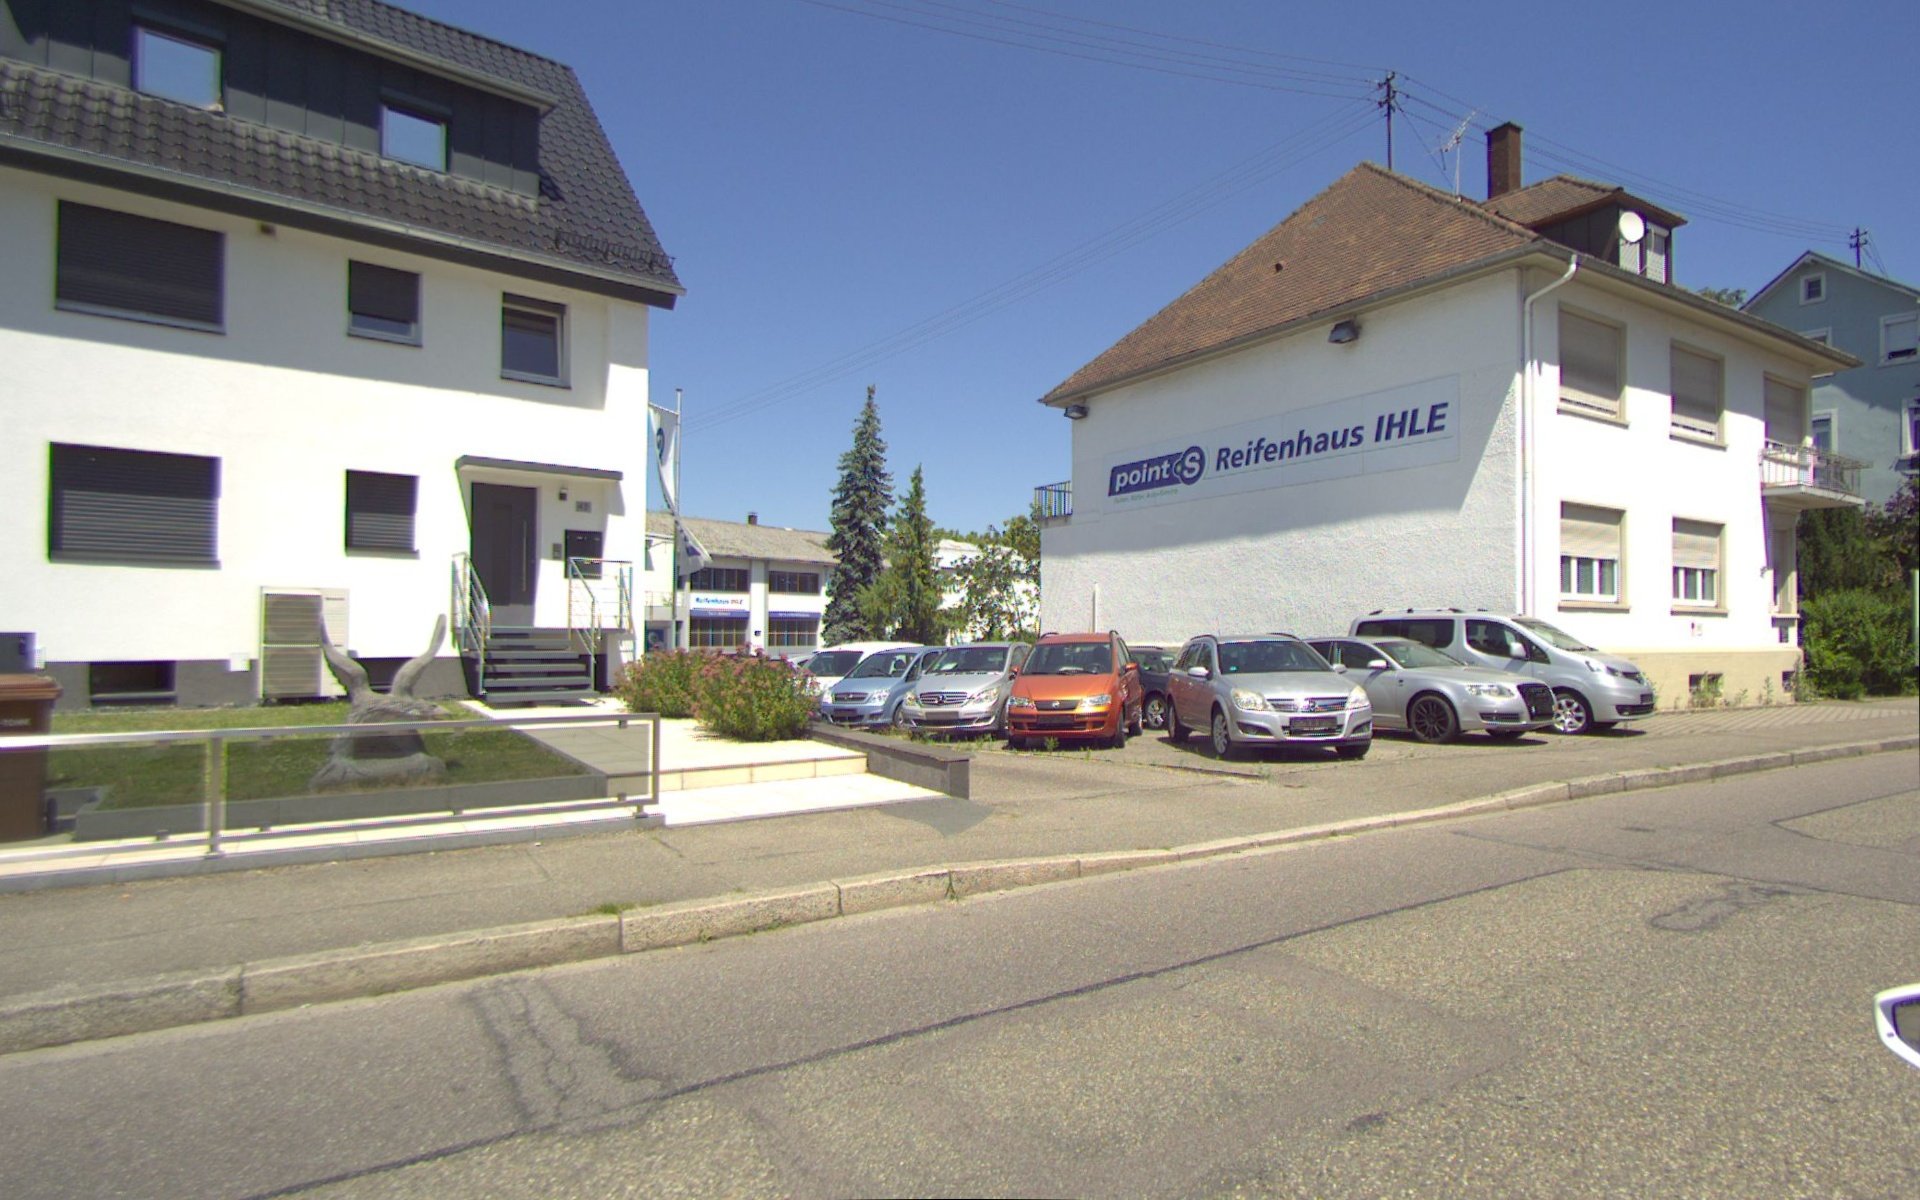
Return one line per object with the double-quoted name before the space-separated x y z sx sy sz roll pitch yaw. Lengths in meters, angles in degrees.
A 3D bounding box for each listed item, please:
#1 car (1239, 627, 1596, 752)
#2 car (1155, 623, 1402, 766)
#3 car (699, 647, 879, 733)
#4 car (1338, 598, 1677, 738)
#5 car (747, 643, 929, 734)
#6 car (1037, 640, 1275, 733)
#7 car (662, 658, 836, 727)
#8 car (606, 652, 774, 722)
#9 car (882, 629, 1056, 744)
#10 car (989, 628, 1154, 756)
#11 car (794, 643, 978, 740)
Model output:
"car" 6.424 1.229 14.694 1.952 1.515 4.452 1 -4 -29
"car" 3.864 1.146 13.036 1.839 1.515 4.277 -1 -3 0
"car" -3.920 2.069 23.684 1.795 1.778 4.174 -5 -4 33
"car" 8.495 1.068 15.954 1.834 1.901 4.319 2 -4 -38
"car" -2.544 1.866 21.938 1.793 1.778 4.178 -4 -4 29
"car" 3.510 1.659 18.919 1.952 1.514 4.454 1 -6 -29
"car" -5.273 2.293 25.493 1.930 1.507 4.046 -4 -4 37
"car" -7.213 2.297 27.122 1.930 1.718 4.046 -4 -5 38
"car" 0.293 1.484 17.513 1.960 1.750 4.003 -2 -4 17
"car" 1.851 1.335 15.356 1.816 1.665 4.210 -2 -3 16
"car" -1.300 1.734 19.405 1.792 1.645 3.941 -4 -5 26
